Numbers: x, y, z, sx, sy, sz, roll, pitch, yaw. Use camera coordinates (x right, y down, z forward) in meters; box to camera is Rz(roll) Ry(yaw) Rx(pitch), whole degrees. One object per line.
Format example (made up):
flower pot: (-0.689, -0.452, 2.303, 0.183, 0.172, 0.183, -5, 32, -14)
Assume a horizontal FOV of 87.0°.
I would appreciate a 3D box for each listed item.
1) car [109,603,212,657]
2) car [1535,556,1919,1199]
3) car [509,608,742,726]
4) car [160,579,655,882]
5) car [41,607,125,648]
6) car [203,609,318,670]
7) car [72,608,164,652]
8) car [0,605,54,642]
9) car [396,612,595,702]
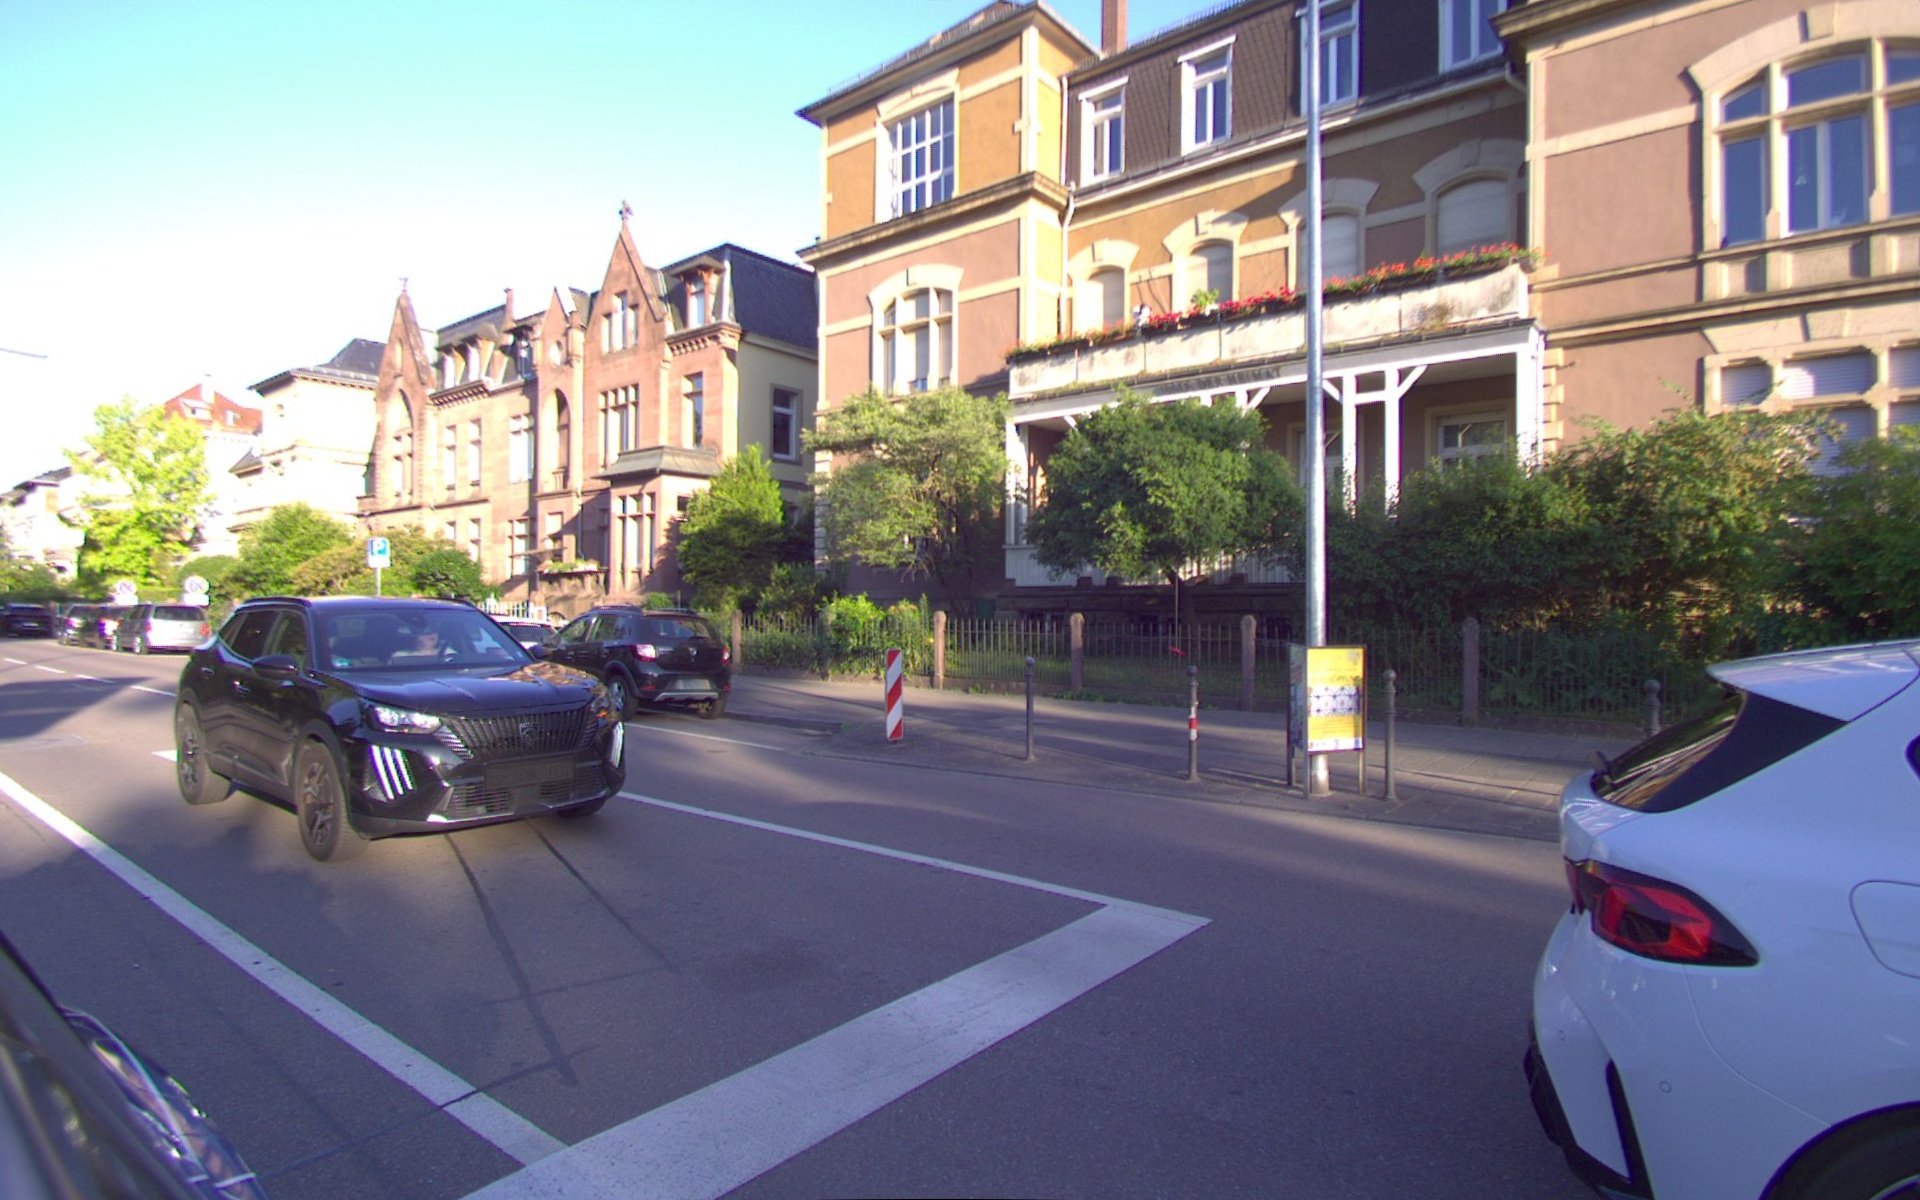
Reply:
car: (-25.331, 0.939, 32.041, 3.748, 1.601, 1.695, -1, -2, 38)
car: (3.291, 0.667, 1.340, 4.184, 1.477, 1.735, -1, -1, 39)
car: (-5.065, 0.946, 15.132, 3.721, 1.546, 1.610, -1, -4, 42)
car: (-4.022, 0.696, 7.099, 3.996, 1.547, 1.662, -1, -1, 39)
car: (-33.090, 1.023, 38.156, 3.718, 1.461, 1.695, -1, -2, 38)
car: (-18.107, 0.988, 26.154, 3.565, 1.456, 1.610, -1, -2, 42)
car: (-29.327, 1.026, 35.211, 3.718, 1.461, 1.695, -1, -2, 38)
car: (-43.808, 1.086, 47.136, 3.720, 1.617, 1.857, -1, -2, 40)
car: (-8.509, 0.977, 18.350, 4.431, 1.454, 1.587, -1, -4, 42)
